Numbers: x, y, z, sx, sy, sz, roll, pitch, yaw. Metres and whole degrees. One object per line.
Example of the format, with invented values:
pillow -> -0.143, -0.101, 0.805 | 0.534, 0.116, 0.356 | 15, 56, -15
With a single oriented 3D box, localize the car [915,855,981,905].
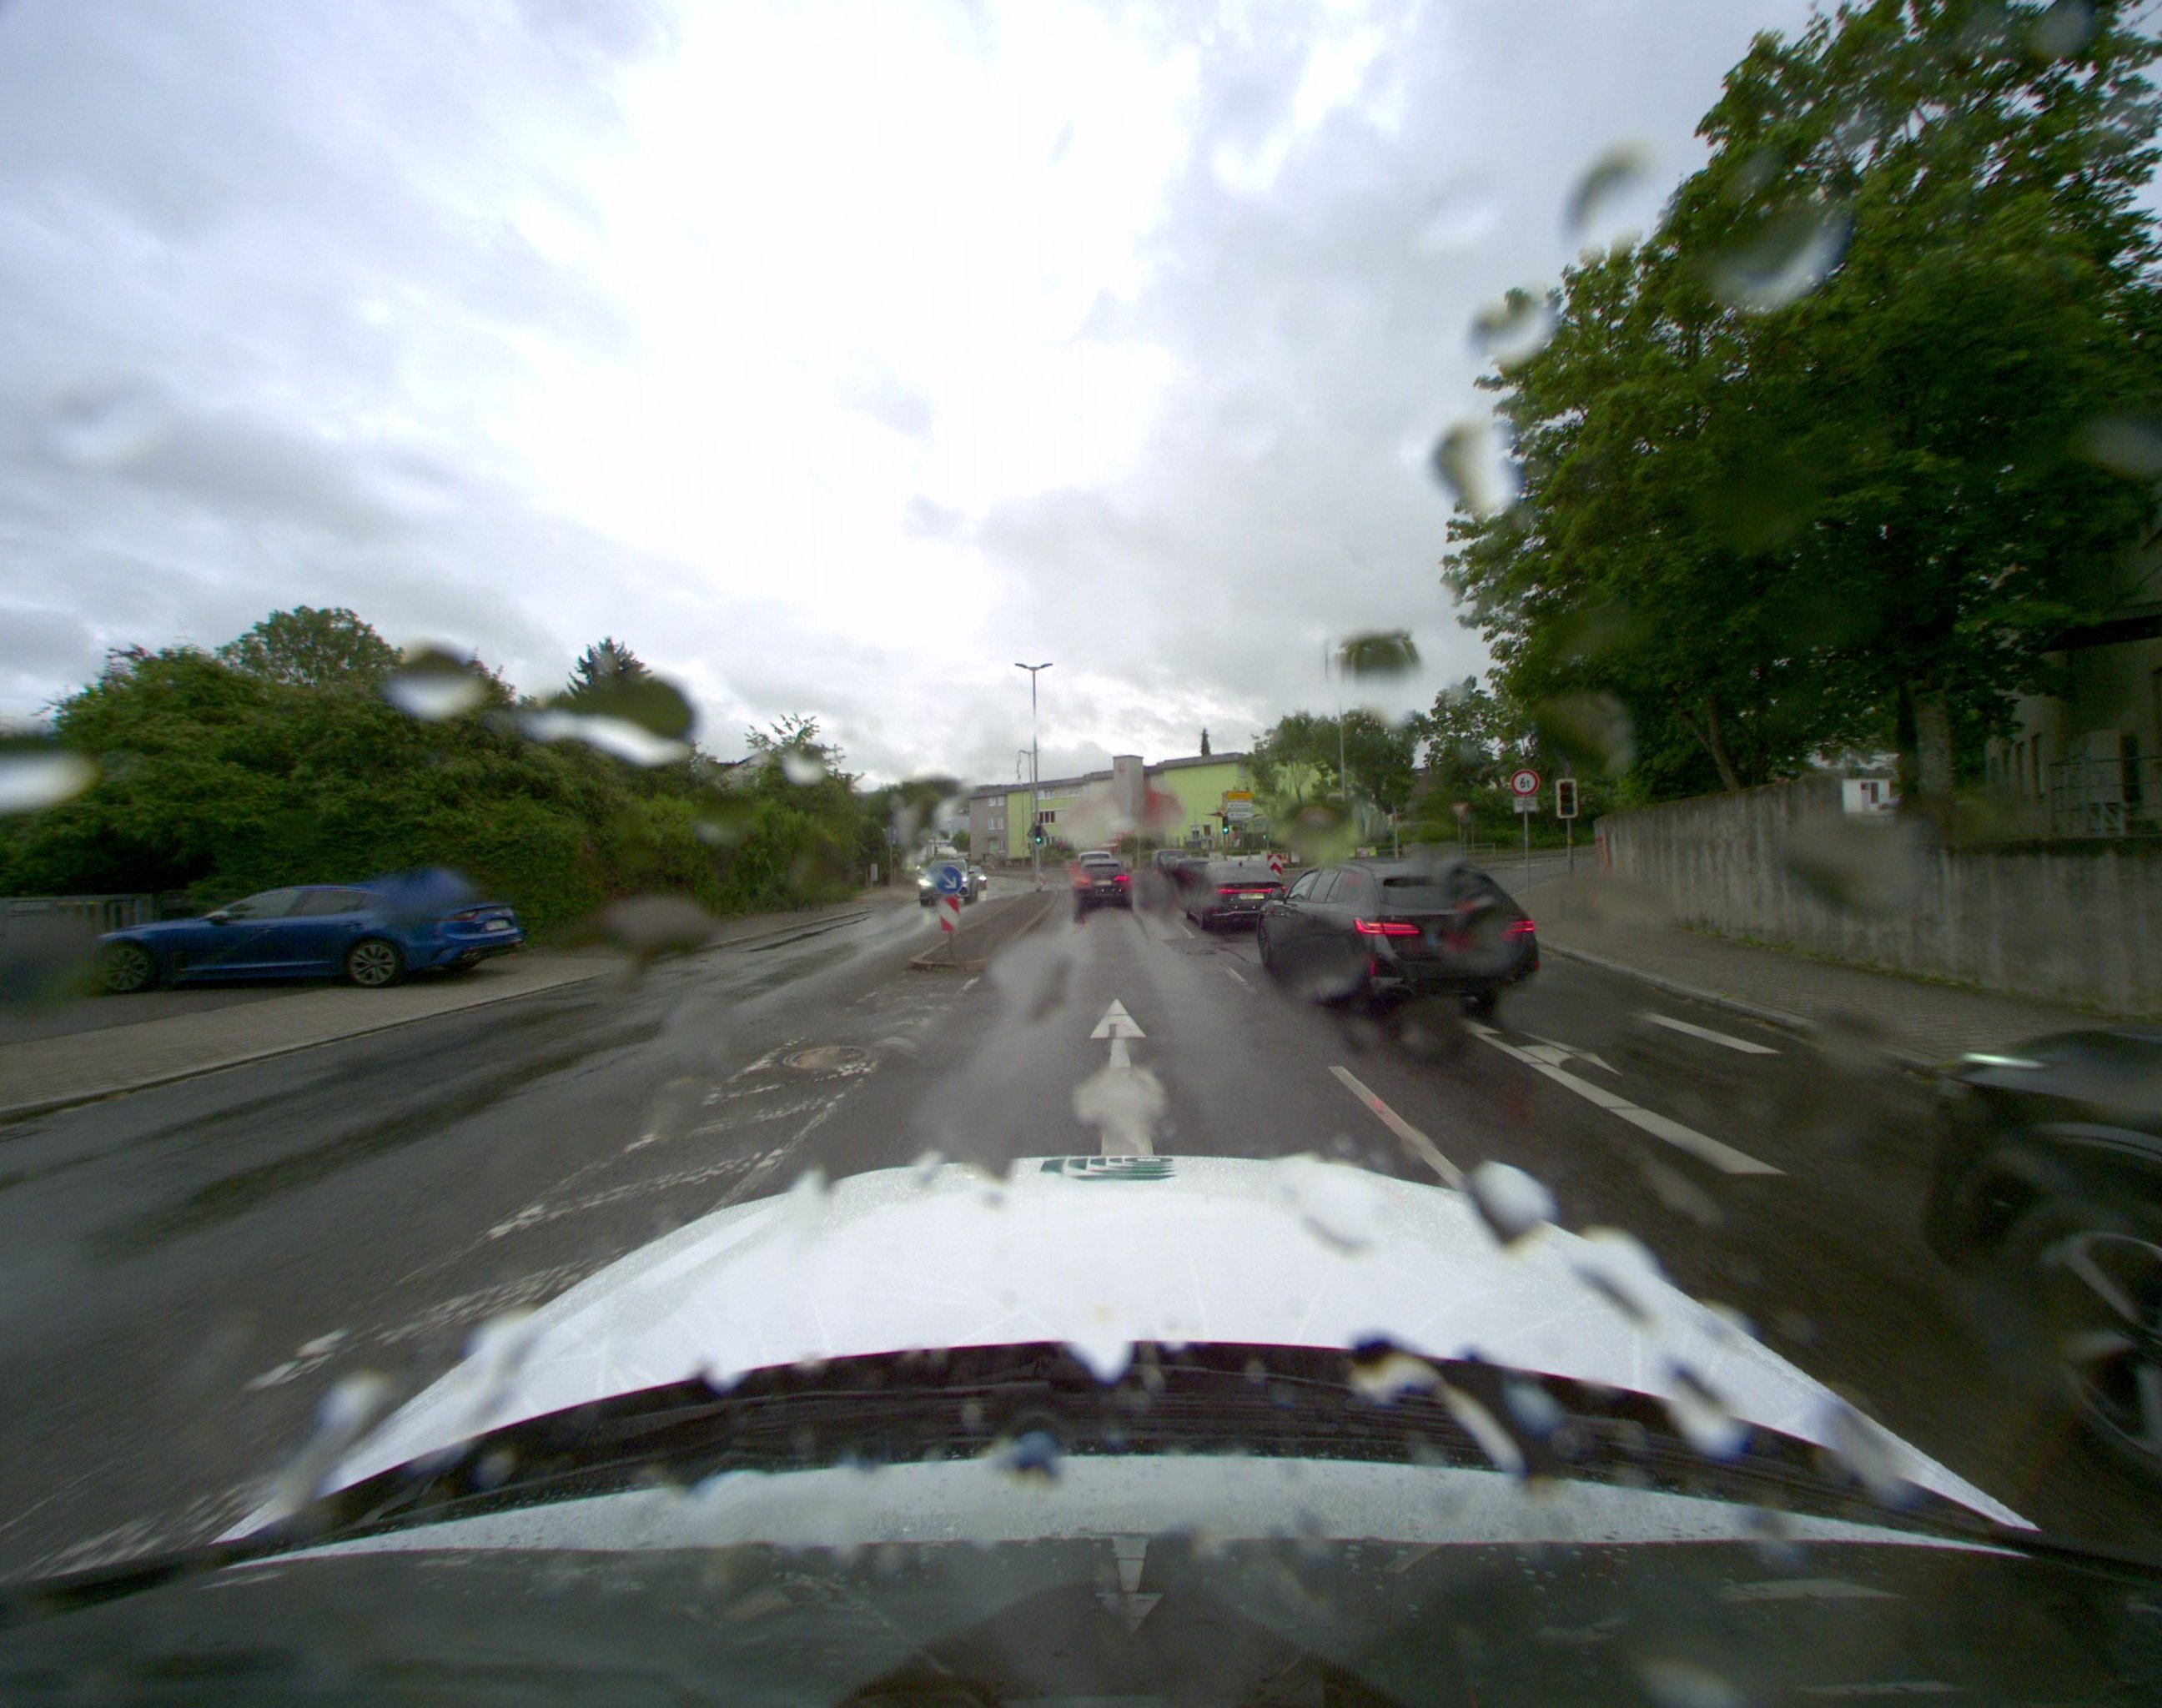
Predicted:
car -> -5.299, 0.984, 32.963 | 2.036, 1.716, 4.477 | -3, 0, -3

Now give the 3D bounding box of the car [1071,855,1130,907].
car -> 0.581, 0.834, 26.730 | 1.678, 1.506, 3.771 | -3, 0, -2

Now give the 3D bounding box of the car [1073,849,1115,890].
car -> 0.595, 0.711, 39.889 | 1.713, 1.844, 4.082 | -2, 0, -3

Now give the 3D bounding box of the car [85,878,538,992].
car -> -10.644, 1.077, 11.597 | 4.476, 1.362, 1.802 | 0, 1, -6

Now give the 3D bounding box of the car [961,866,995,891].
car -> -6.534, 1.532, 52.126 | 1.733, 1.437, 4.552 | -4, -1, -3

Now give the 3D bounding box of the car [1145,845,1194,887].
car -> 4.027, 0.523, 37.679 | 1.777, 1.734, 4.086 | -3, 0, 0

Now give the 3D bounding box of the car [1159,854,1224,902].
car -> 3.831, 0.788, 28.794 | 1.842, 1.486, 4.089 | -3, 0, 2

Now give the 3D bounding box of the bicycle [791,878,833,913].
bicycle -> -8.957, 1.353, 27.228 | 0.744, 1.086, 1.989 | -1, -1, 0

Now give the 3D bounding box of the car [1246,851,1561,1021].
car -> 3.378, 0.734, 9.698 | 1.898, 1.458, 4.779 | -2, 0, 1

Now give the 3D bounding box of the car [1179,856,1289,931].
car -> 3.305, 0.787, 18.411 | 1.700, 1.427, 4.510 | -2, 0, 1

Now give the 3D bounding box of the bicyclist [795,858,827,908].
bicyclist -> -8.961, 0.960, 27.056 | 0.762, 1.612, 0.868 | -1, -1, 0

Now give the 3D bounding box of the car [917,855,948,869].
car -> -22.859, 1.237, 125.307 | 4.404, 1.772, 1.989 | -4, 0, -16

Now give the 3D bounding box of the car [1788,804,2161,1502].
car -> 3.314, 0.676, 0.731 | 1.783, 1.603, 4.256 | -1, 0, 2

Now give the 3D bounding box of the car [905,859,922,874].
car -> -20.071, 1.528, 97.254 | 1.852, 1.564, 3.983 | -3, 2, -13
